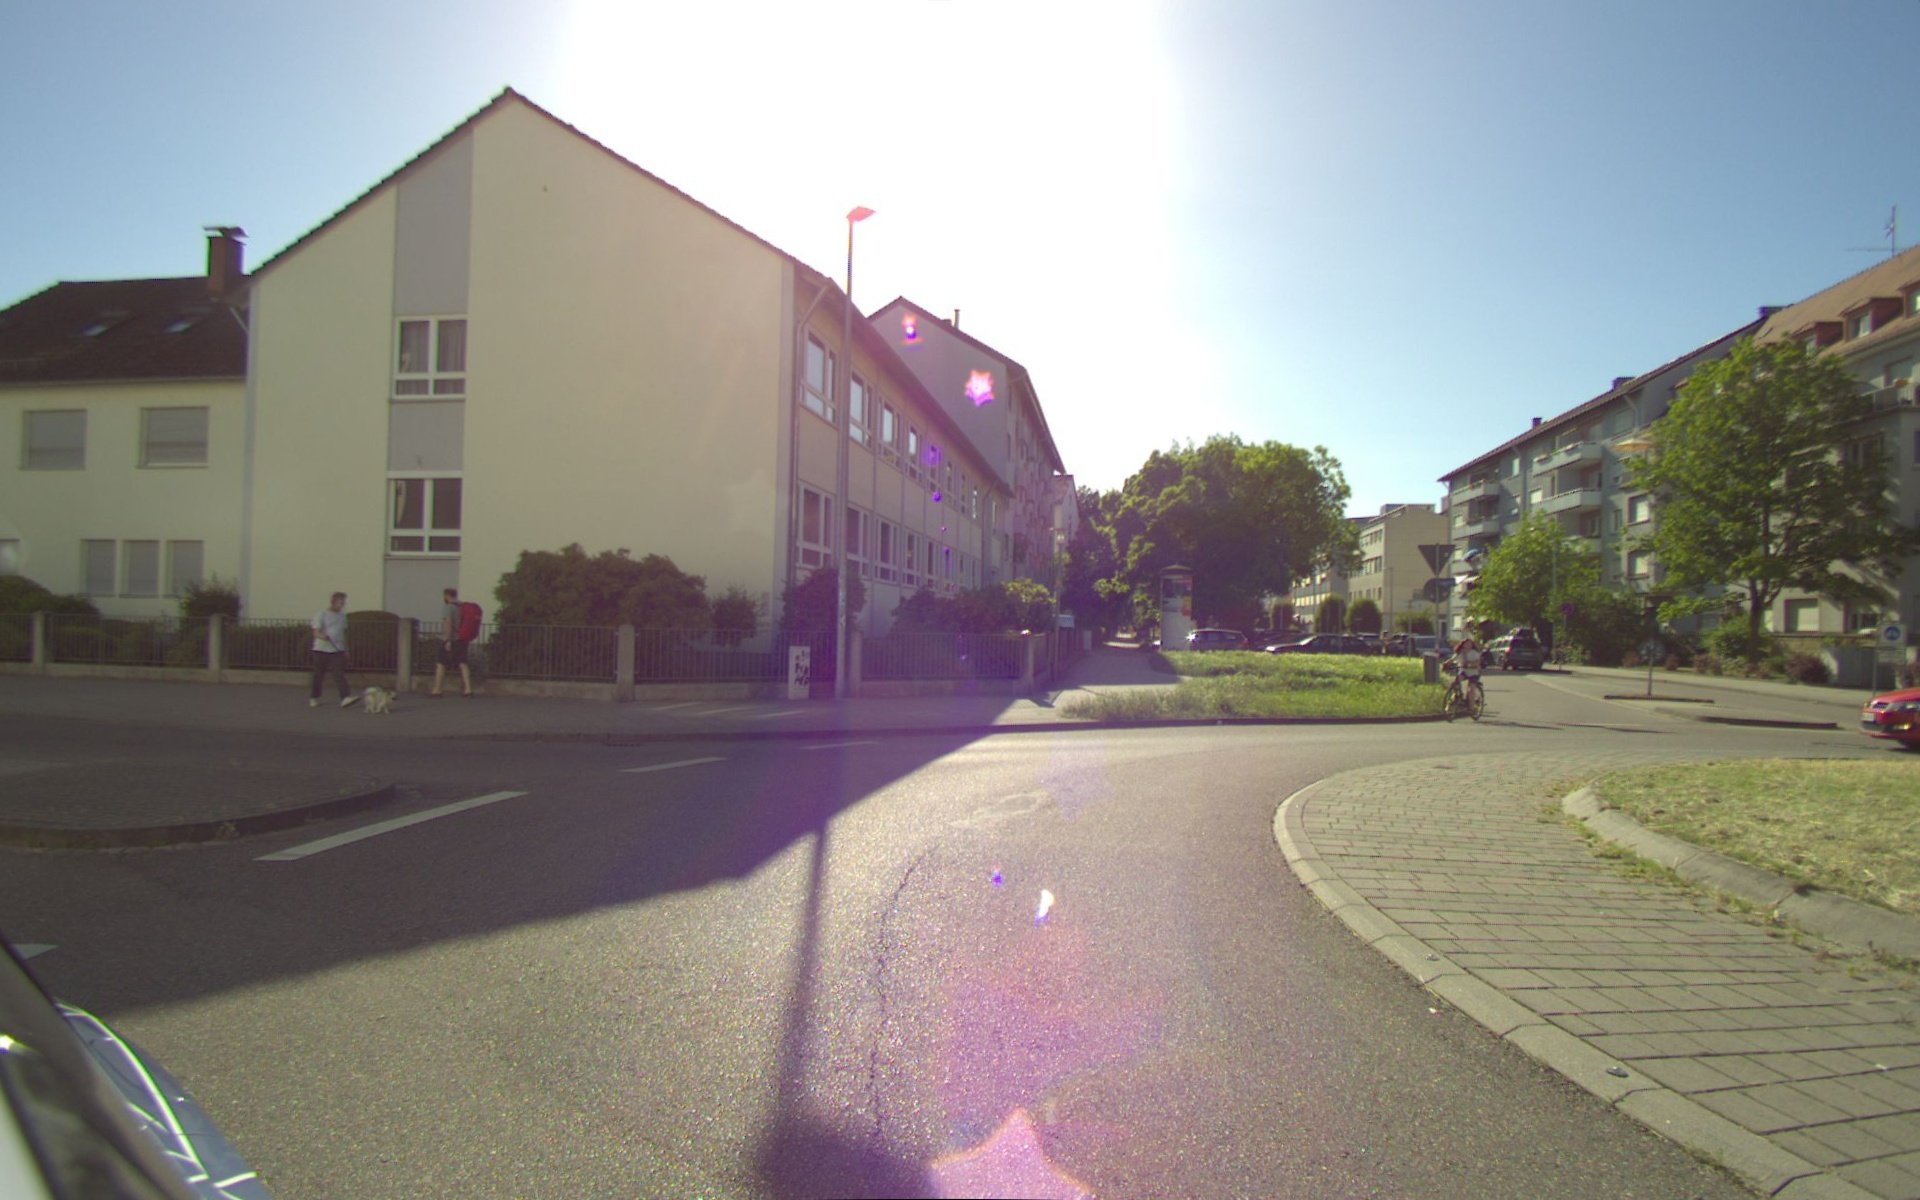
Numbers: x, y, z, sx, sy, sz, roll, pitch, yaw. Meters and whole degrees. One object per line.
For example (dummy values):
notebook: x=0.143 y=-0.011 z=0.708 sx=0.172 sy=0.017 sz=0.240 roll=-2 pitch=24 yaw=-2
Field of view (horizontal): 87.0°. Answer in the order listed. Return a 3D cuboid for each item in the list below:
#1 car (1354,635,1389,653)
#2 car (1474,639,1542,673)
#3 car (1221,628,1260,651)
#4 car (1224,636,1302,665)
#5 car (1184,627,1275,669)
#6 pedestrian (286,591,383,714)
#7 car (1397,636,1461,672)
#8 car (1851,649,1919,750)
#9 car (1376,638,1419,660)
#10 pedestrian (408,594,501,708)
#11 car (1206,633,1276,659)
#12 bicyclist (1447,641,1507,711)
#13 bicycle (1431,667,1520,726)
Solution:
car: x=32.530 y=3.482 z=80.132 sx=1.831 sy=1.390 sz=3.986 roll=1 pitch=-2 yaw=11
car: x=27.037 y=2.741 z=50.065 sx=1.831 sy=1.551 sz=3.986 roll=1 pitch=-2 yaw=11
car: x=19.251 y=2.721 z=69.628 sx=1.828 sy=1.534 sz=3.994 roll=1 pitch=-2 yaw=4
car: x=16.297 y=2.696 z=54.510 sx=3.967 sy=1.475 sz=1.988 roll=1 pitch=-2 yaw=18
car: x=12.476 y=2.205 z=46.874 sx=3.967 sy=1.785 sz=1.988 roll=1 pitch=-2 yaw=18
pedestrian: x=-9.112 y=0.742 z=14.755 sx=0.988 sy=1.718 sz=0.689 roll=1 pitch=-1 yaw=16
car: x=23.559 y=2.680 z=50.945 sx=1.860 sy=1.709 sz=4.260 roll=0 pitch=-1 yaw=10
car: x=15.191 y=1.396 z=13.977 sx=3.981 sy=1.393 sz=1.701 roll=-1 pitch=-4 yaw=28
car: x=29.948 y=3.330 z=69.368 sx=1.831 sy=1.390 sz=3.986 roll=1 pitch=-2 yaw=11
pedestrian: x=-7.928 y=0.778 z=15.899 sx=0.988 sy=1.718 sz=0.815 roll=1 pitch=-1 yaw=15
car: x=16.997 y=2.778 z=61.322 sx=3.960 sy=1.475 sz=1.819 roll=1 pitch=-2 yaw=13
bicyclist: x=10.343 y=1.497 z=20.252 sx=0.812 sy=1.322 sz=0.812 roll=2 pitch=-1 yaw=-41
bicycle: x=10.339 y=1.901 z=20.260 sx=2.176 sy=1.022 sz=0.812 roll=2 pitch=-1 yaw=-41
